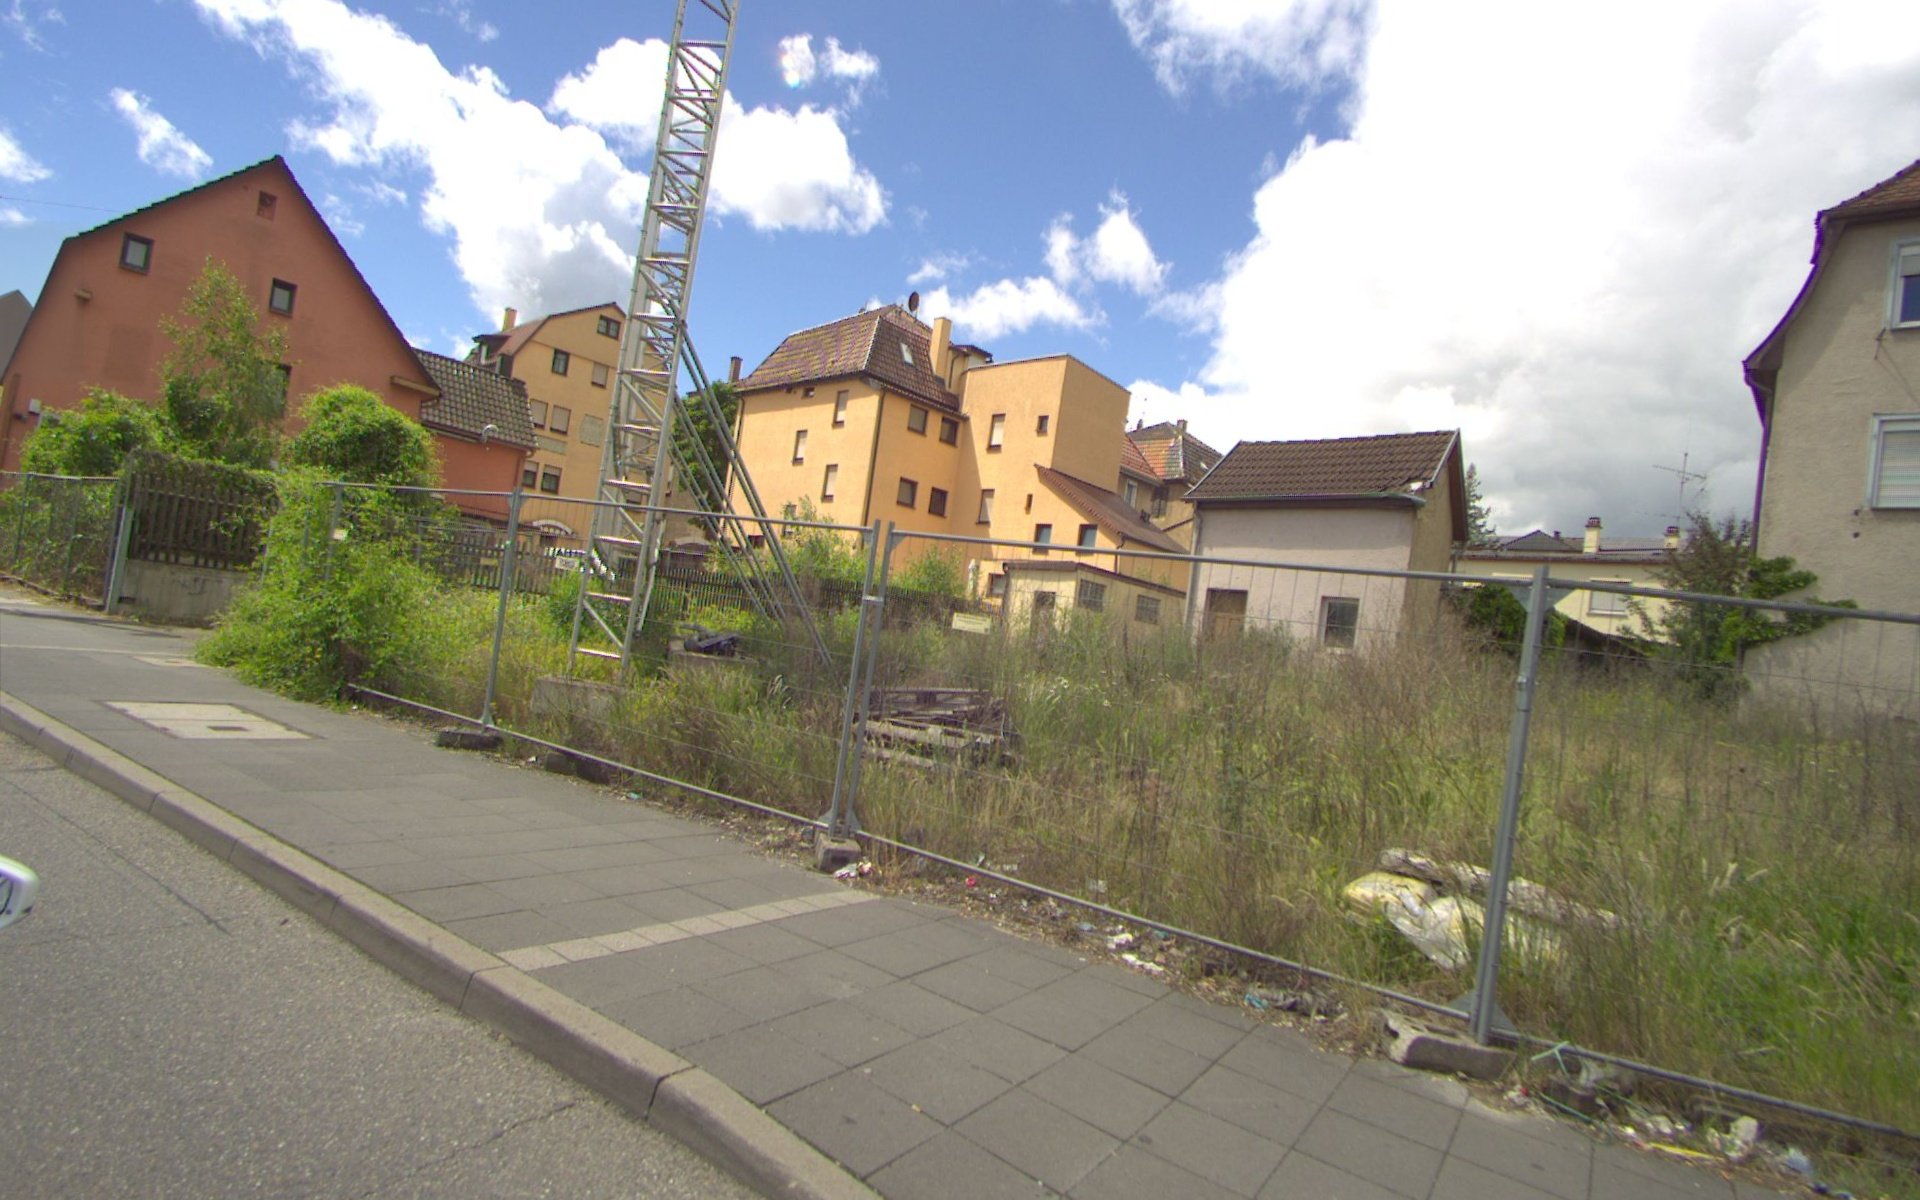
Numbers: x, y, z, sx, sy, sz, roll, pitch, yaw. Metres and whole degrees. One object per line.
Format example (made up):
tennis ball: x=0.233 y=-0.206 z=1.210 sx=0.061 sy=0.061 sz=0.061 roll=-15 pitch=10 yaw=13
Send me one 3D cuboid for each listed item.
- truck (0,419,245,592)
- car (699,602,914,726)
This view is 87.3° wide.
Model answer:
truck: x=-31.708 y=-3.366 z=36.012 sx=3.158 sy=4.581 sz=9.037 roll=6 pitch=-5 yaw=27
car: x=-1.908 y=0.768 z=12.371 sx=2.406 sy=1.134 sz=1.073 roll=7 pitch=0 yaw=33
